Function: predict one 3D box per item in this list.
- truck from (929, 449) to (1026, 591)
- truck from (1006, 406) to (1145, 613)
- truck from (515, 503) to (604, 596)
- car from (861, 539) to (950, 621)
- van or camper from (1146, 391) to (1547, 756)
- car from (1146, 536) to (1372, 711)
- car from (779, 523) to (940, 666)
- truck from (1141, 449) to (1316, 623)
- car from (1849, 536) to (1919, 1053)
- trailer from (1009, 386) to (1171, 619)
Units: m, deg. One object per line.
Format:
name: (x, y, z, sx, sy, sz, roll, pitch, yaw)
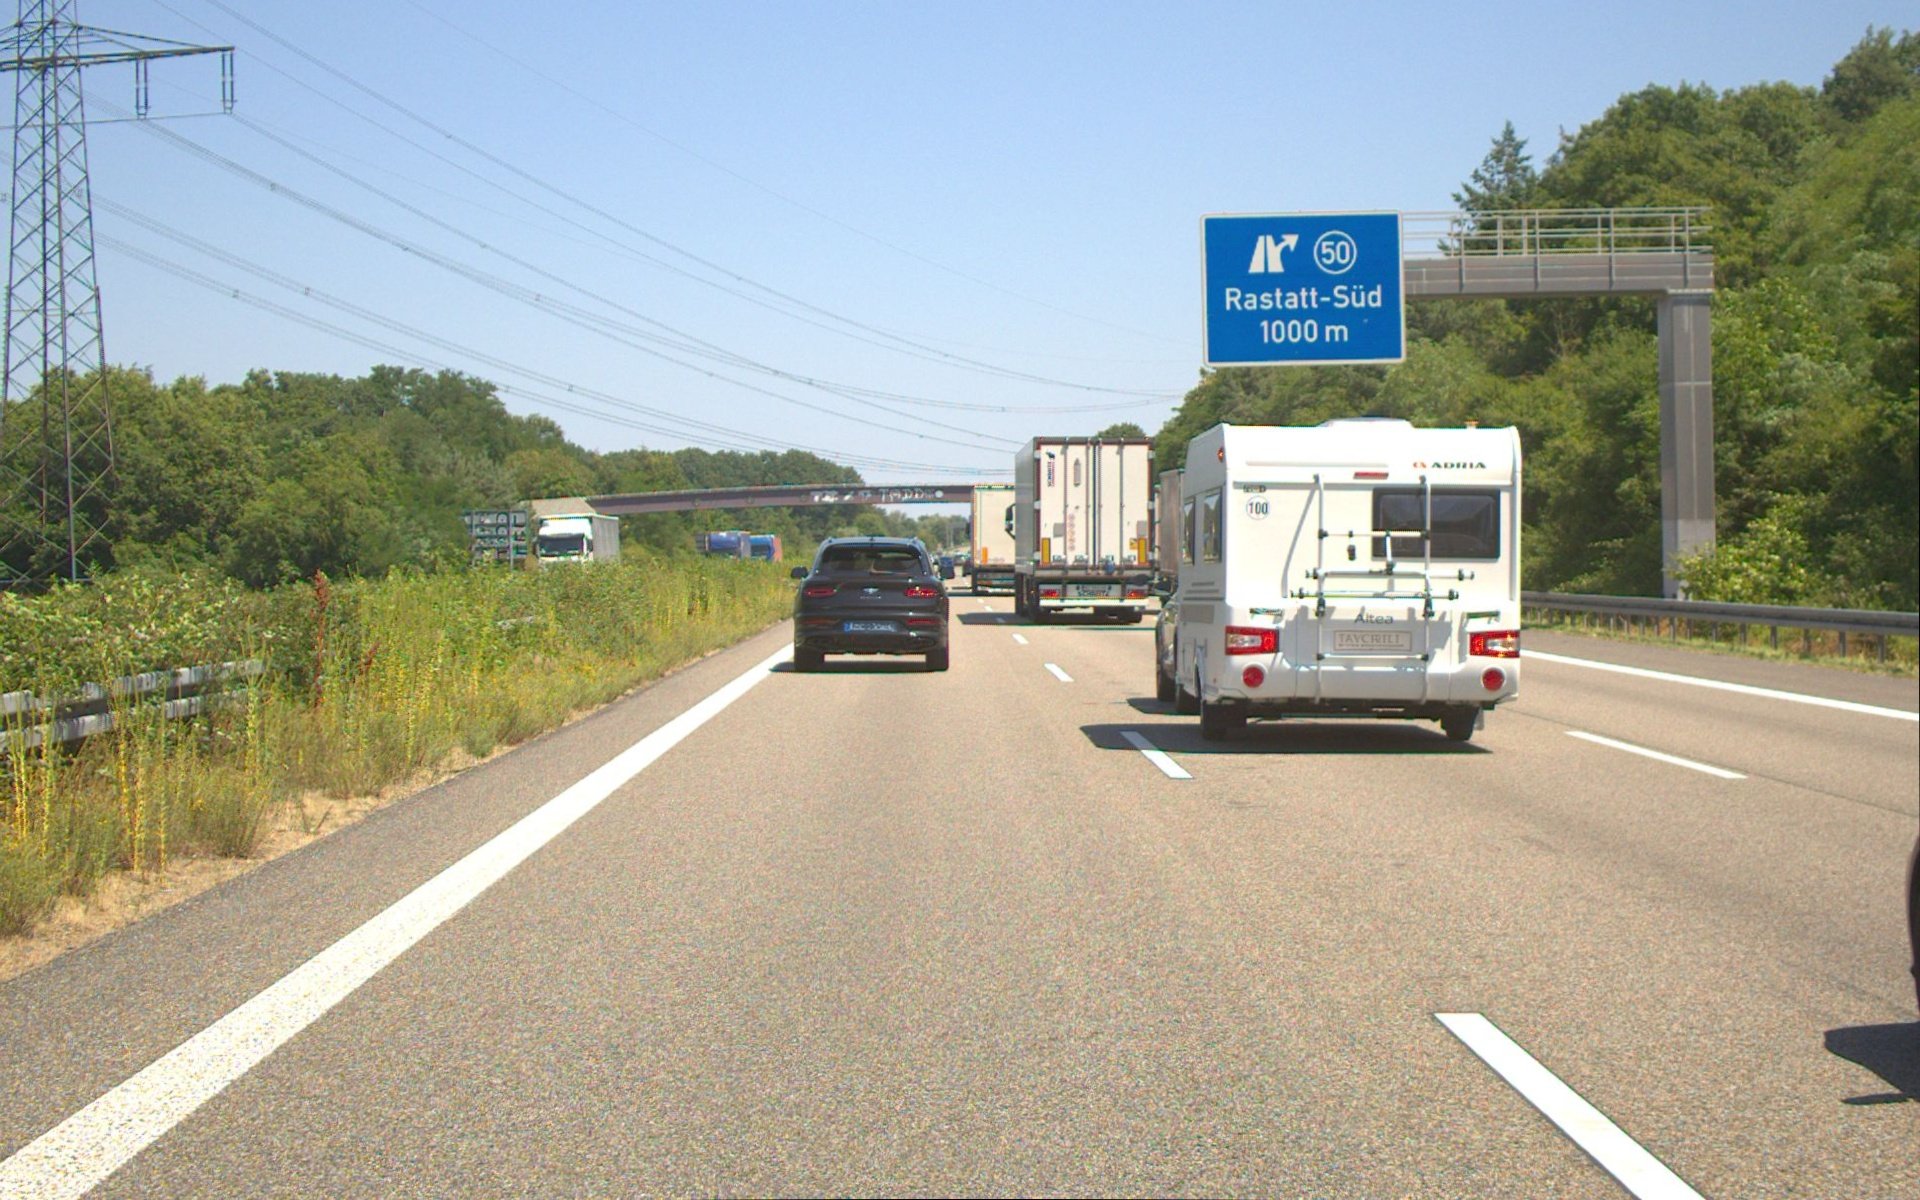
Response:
truck: (0.615, -3.004, 130.957, 3.512, 5.149, 10.259, 1, 1, 0)
truck: (2.806, -2.179, 85.272, 3.087, 4.868, 6.598, 1, 0, 0)
truck: (-19.718, -2.495, 169.673, 3.368, 4.393, 6.556, -2, 1, 1)
car: (-1.262, -0.484, 78.451, 1.961, 1.808, 4.449, -1, 1, -1)
van or camper: (3.023, -0.253, 28.516, 2.439, 2.665, 6.350, -1, 1, -1)
car: (2.887, 0.181, 34.069, 1.879, 1.607, 4.702, 0, 1, 1)
car: (-1.305, -0.109, 44.981, 1.993, 1.766, 4.000, -1, 1, -1)
truck: (6.923, -1.624, 90.536, 3.571, 4.230, 11.652, 1, 0, 0)
car: (3.747, 0.611, 8.363, 1.841, 1.500, 4.738, 1, 1, -1)
trailer: (2.844, -2.123, 79.038, 3.087, 4.868, 12.258, 1, 0, 0)
